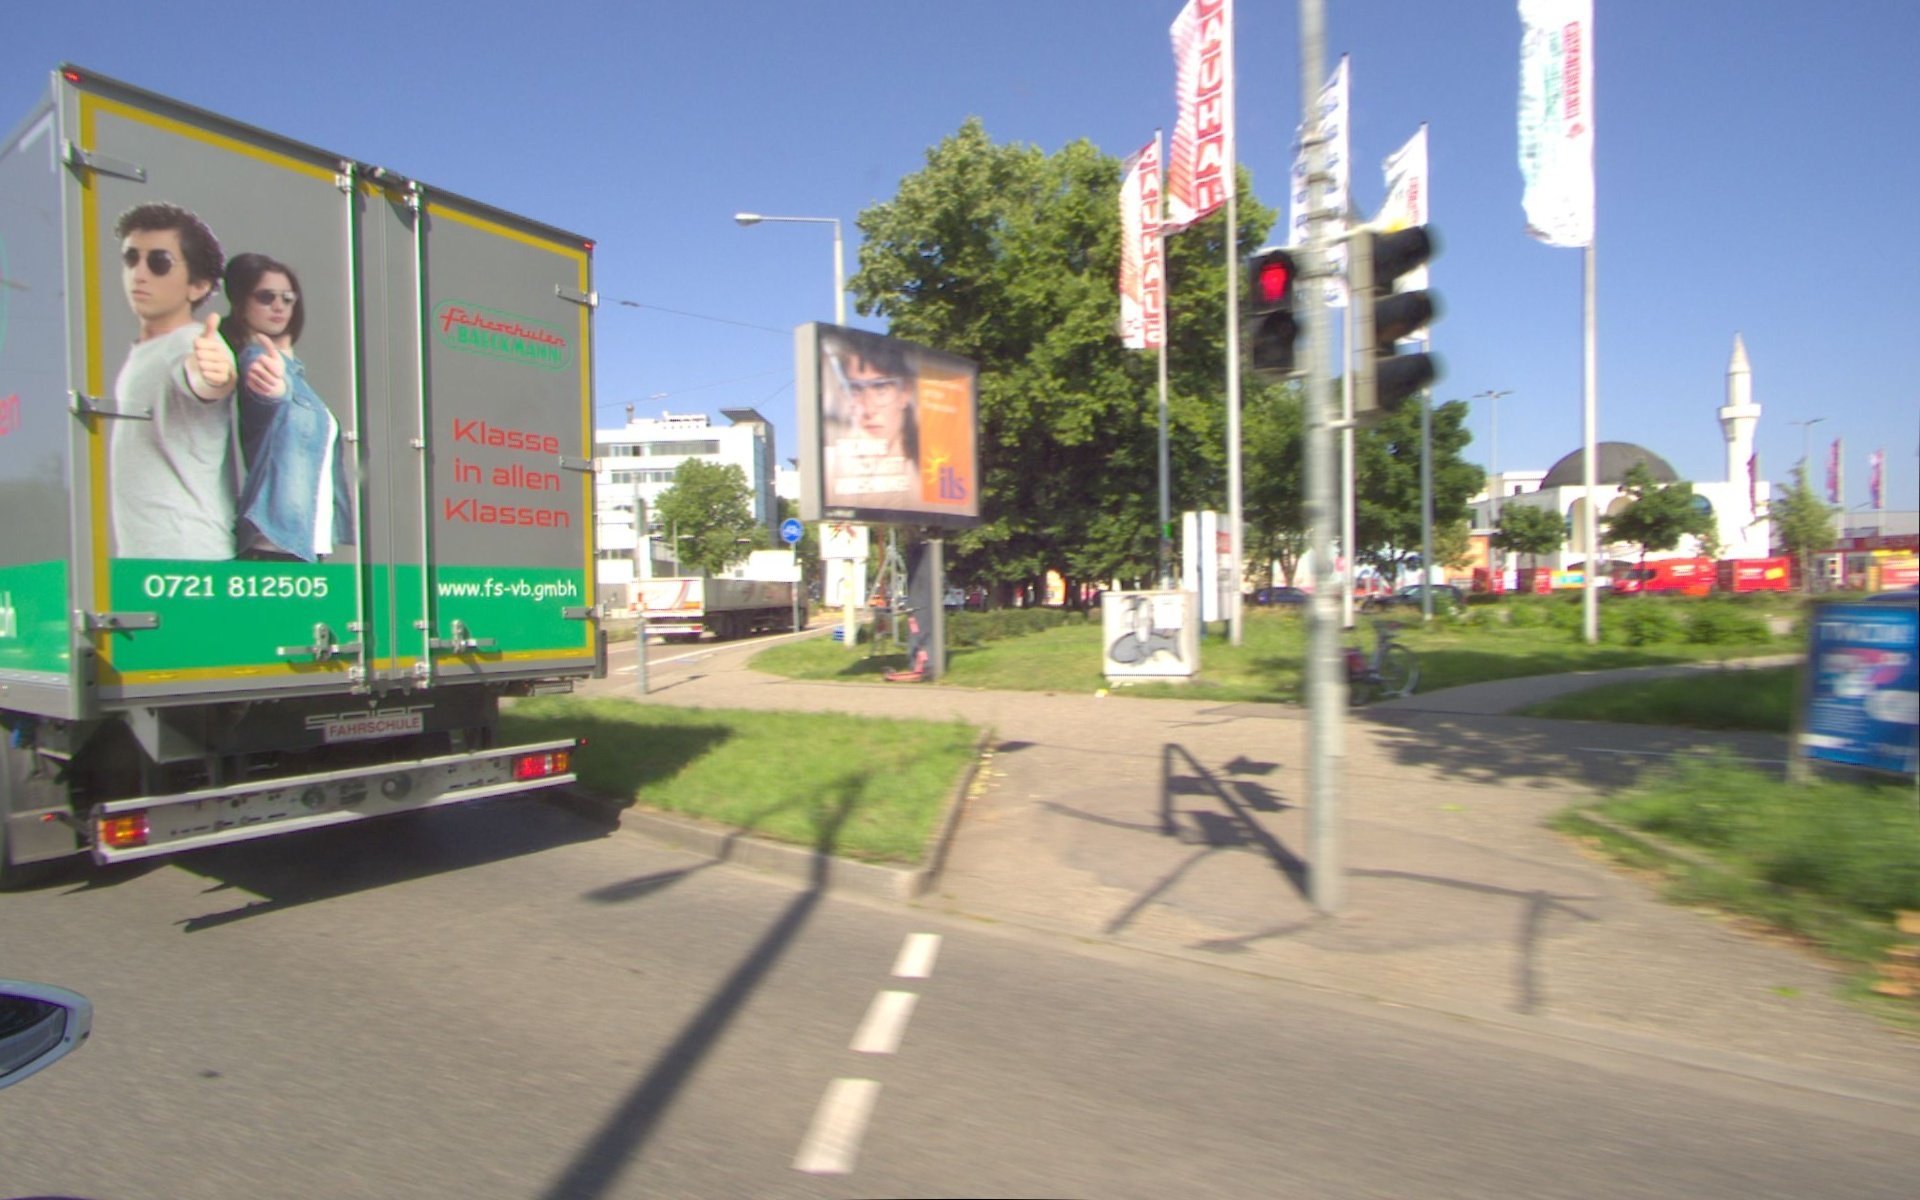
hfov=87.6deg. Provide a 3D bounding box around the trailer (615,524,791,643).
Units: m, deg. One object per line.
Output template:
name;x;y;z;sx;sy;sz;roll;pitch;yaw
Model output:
trailer;-9.380;-0.544;38.492;2.761;3.823;11.848;-1;0;5

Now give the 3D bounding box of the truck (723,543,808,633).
truck;-8.871;-0.514;46.314;2.745;3.878;5.105;-1;0;2

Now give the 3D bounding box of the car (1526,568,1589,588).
car;60.441;-2.215;101.320;5.046;1.776;2.001;-1;-2;7

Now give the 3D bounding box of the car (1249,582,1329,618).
car;18.112;0.004;55.320;3.923;1.861;2.000;-1;-2;9

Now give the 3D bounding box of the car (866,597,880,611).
car;-13.531;0.706;156.195;1.961;2.039;4.002;0;-2;-3

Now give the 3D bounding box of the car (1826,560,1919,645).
car;18.326;0.060;17.917;3.922;1.438;1.907;-1;-2;2

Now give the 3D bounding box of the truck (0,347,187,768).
truck;-12.398;-0.269;11.977;8.611;3.940;2.720;-2;-1;36

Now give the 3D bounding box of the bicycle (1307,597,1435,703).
bicycle;4.996;0.578;12.123;1.884;1.154;0.493;-2;0;-36

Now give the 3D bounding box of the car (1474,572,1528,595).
car;50.109;-1.503;92.825;3.923;2.039;2.000;0;-2;-7

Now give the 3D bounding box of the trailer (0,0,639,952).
trailer;-5.847;-0.507;7.158;7.635;3.927;2.728;-2;-1;36

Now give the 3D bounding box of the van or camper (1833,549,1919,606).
van or camper;53.162;-1.245;55.821;7.145;2.979;2.001;0;-2;0

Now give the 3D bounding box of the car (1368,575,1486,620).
car;19.003;-0.069;40.888;3.923;1.705;2.000;-1;-2;9

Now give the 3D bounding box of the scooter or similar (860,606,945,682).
scooter or similar;-0.920;0.690;15.981;1.355;1.164;0.433;-1;1;35

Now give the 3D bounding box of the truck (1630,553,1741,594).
truck;46.926;-1.692;64.871;5.669;2.443;2.001;0;-2;0
